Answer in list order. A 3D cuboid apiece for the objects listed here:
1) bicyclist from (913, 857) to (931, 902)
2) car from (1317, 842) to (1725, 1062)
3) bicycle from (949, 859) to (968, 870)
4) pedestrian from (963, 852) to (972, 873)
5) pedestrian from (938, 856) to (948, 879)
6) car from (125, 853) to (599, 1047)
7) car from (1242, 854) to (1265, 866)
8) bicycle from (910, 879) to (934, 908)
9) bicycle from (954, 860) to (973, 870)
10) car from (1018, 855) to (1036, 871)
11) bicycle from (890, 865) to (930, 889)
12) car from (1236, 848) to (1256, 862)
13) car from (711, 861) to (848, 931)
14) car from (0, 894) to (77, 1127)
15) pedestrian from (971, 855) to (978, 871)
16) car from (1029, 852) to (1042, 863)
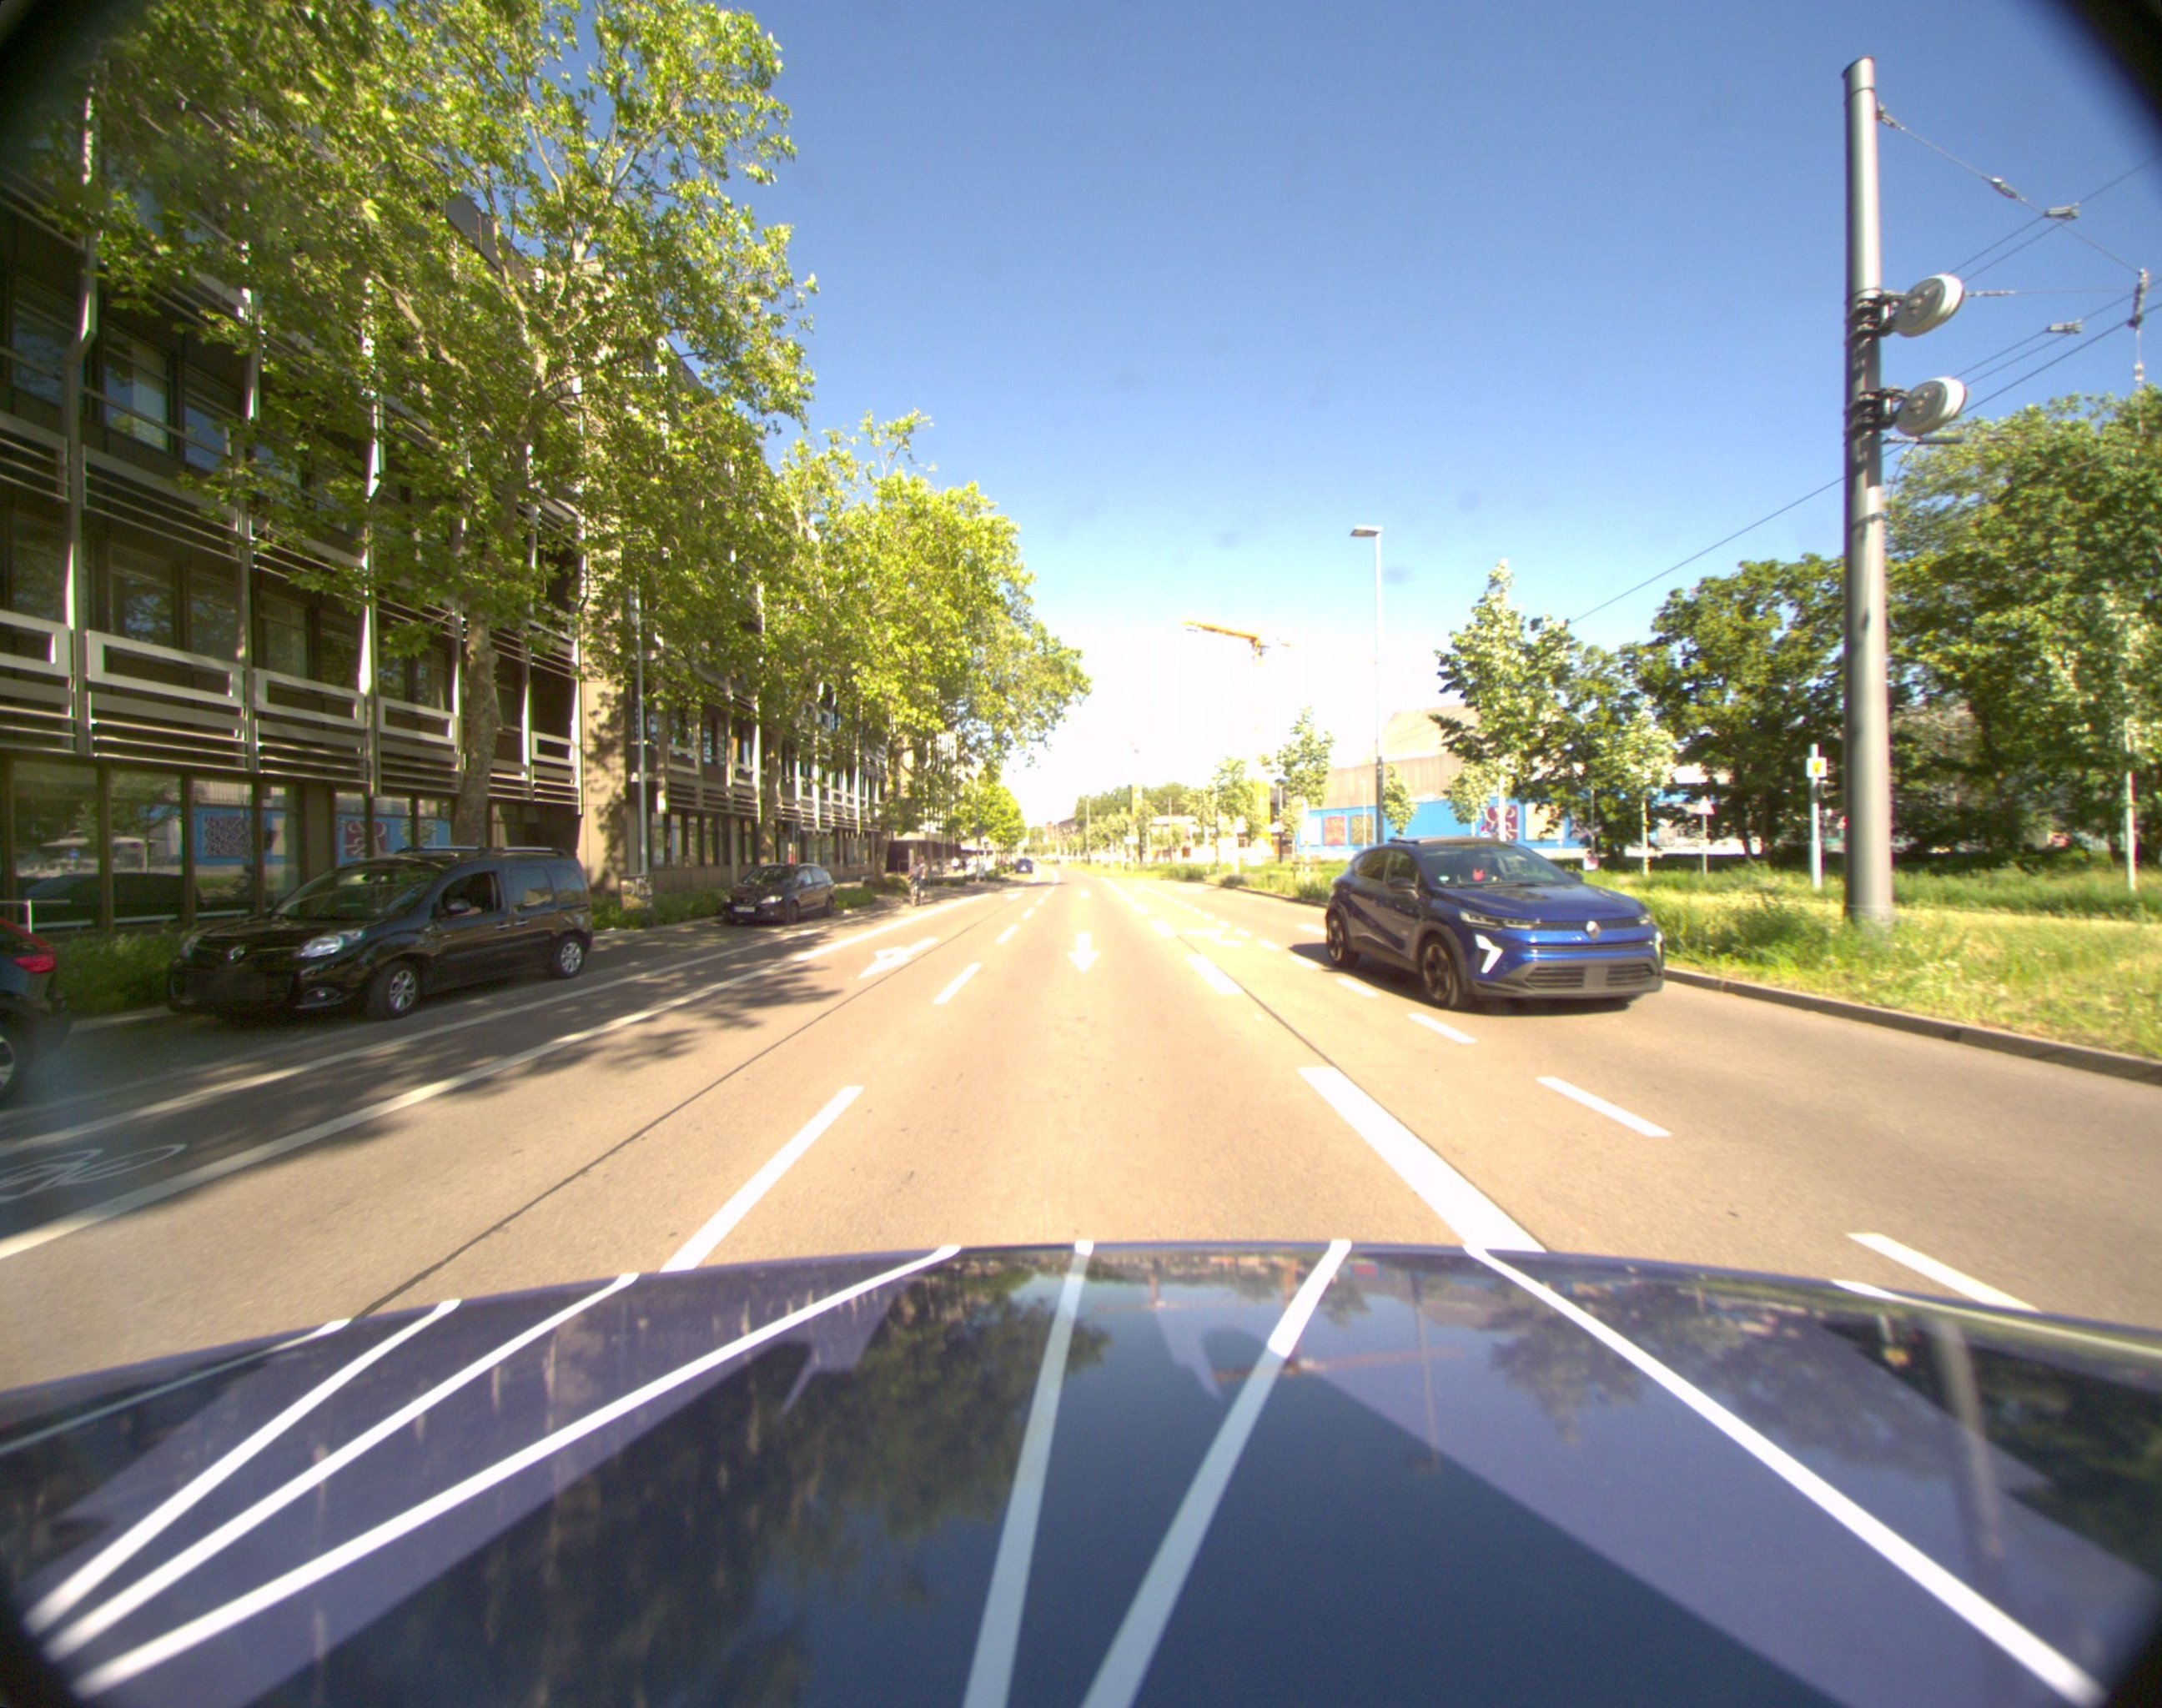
[{"bbox_3d":[-5.614,0.890,26.848,0.514,1.592,0.536,-1,1,-4],"label":"bicyclist"},{"bbox_3d":[4.034,0.752,7.920,1.749,1.613,4.152,-2,0,-1],"label":"car"},{"bbox_3d":[-12.141,1.049,75.280,1.862,1.091,0.426,1,1,1],"label":"bicycle"},{"bbox_3d":[-9.447,0.686,63.210,0.649,1.718,0.803,-1,1,0],"label":"pedestrian"},{"bbox_3d":[-10.165,0.995,55.938,0.512,1.691,0.774,-1,1,0],"label":"pedestrian"},{"bbox_3d":[-8.028,0.896,9.167,1.708,1.779,4.192,1,0,1],"label":"car"},{"bbox_3d":[19.970,0.691,88.016,1.637,1.390,3.832,-1,0,-1],"label":"car"},{"bbox_3d":[-5.590,1.377,26.866,0.499,0.900,2.196,-3,0,-4],"label":"bicycle"},{"bbox_3d":[-11.898,1.127,76.748,1.862,1.005,0.426,1,1,1],"label":"bicycle"},{"bbox_3d":[-5.900,1.001,83.933,1.854,1.647,4.847,0,0,-2],"label":"car"},{"bbox_3d":[-8.784,1.178,39.089,1.942,1.229,0.579,0,0,-3],"label":"bicycle"},{"bbox_3d":[22.589,0.114,104.004,1.802,1.787,3.999,-3,1,1],"label":"car"},{"bbox_3d":[-8.007,1.025,20.698,1.708,1.633,4.636,1,0,2],"label":"car"},{"bbox_3d":[-8.182,1.094,3.409,1.708,1.554,4.192,-1,0,1],"label":"car"},{"bbox_3d":[-9.954,0.800,70.868,0.512,1.466,0.736,-1,1,0],"label":"pedestrian"},{"bbox_3d":[-7.873,0.623,132.158,1.822,1.783,3.999,-3,1,1],"label":"car"}]
